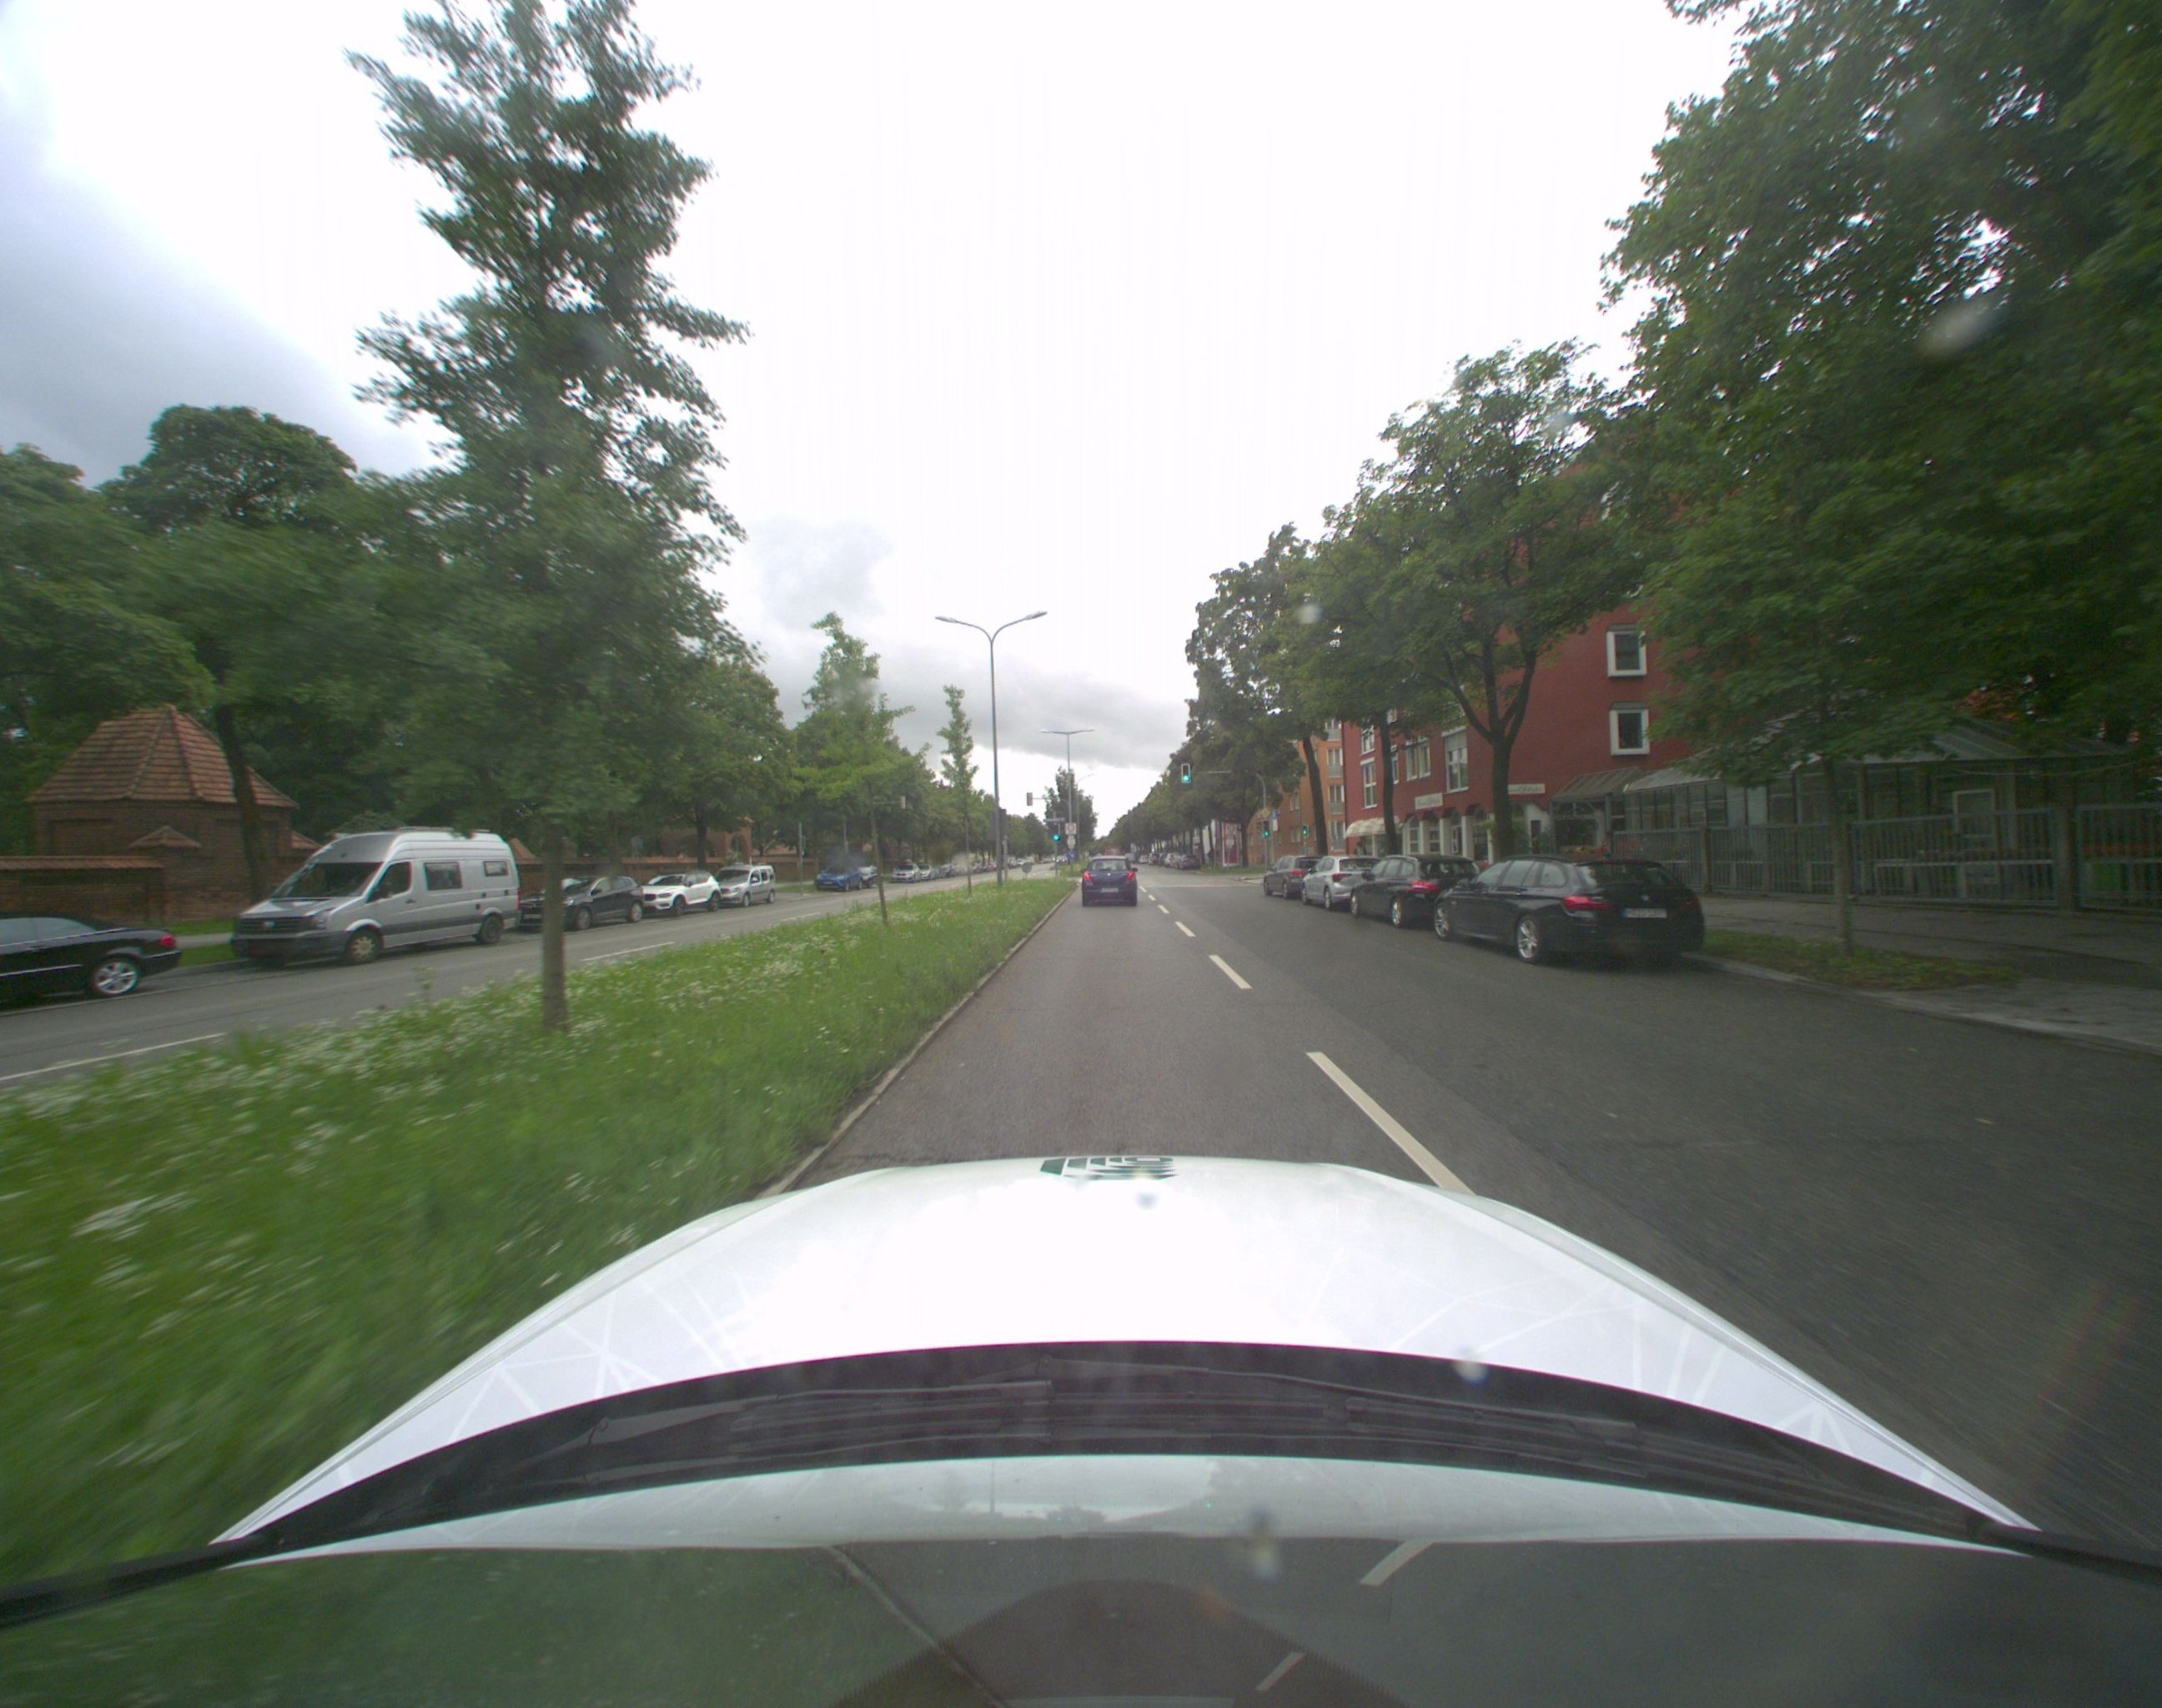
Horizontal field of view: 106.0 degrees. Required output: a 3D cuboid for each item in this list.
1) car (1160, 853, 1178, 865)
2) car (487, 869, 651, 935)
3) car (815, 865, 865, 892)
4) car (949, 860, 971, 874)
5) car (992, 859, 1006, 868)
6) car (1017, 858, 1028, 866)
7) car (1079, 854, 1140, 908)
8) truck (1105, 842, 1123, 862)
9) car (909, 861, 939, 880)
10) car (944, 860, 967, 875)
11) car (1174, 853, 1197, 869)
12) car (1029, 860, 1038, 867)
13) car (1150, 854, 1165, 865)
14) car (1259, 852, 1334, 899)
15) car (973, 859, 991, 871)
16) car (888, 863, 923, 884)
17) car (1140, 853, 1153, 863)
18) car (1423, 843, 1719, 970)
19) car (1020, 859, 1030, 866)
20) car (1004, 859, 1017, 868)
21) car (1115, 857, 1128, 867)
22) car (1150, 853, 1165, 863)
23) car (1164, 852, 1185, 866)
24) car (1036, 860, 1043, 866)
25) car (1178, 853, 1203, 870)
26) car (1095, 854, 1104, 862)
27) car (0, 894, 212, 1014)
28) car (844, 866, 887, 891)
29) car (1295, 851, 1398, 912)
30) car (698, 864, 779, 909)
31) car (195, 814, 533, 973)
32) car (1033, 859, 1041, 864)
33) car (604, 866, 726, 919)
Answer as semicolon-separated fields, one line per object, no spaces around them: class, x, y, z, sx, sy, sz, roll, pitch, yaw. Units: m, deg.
car;11.561;0.658;106.764;1.986;1.530;4.002;-2;0;2
car;-15.567;1.378;25.142;2.179;1.736;4.576;-1;0;-1
car;-14.732;1.466;49.946;1.700;1.534;4.002;-2;0;2
car;-14.213;1.525;95.645;1.795;1.534;4.002;-2;0;2
car;-13.789;1.608;137.369;1.795;1.534;4.002;-2;0;2
car;-12.077;1.599;168.936;1.795;1.534;4.002;-2;0;2
car;0.929;0.788;25.720;1.746;1.505;4.003;-2;0;3
truck;6.121;-0.339;149.277;3.029;3.557;13.683;-1;0;3
car;-14.062;1.469;73.109;1.795;1.534;4.002;-2;0;2
car;-13.960;1.478;90.620;1.795;1.534;4.002;-2;0;2
car;10.729;0.693;83.917;1.986;1.530;4.002;-2;0;2
car;-11.609;2.323;197.978;1.795;1.534;4.002;-2;0;2
car;11.189;0.750;119.389;1.986;1.530;4.002;-2;0;2
car;7.277;0.686;27.853;1.688;1.452;4.127;-2;0;4
car;-13.534;1.539;111.378;1.795;1.534;4.002;-2;0;2
car;-14.344;1.597;66.665;1.795;1.534;4.002;-2;0;2
car;11.534;0.686;143.046;1.986;1.530;4.002;-2;0;2
car;6.794;0.627;12.010;1.647;1.452;4.711;-2;0;2
car;-13.032;1.983;190.512;1.795;1.534;4.002;-2;0;2
car;-12.955;1.706;150.301;1.795;1.534;4.002;-2;0;2
car;5.951;1.168;119.167;1.815;1.477;4.692;0;0;2
car;11.660;0.593;124.129;1.986;1.530;4.002;-2;0;2
car;11.014;0.602;96.168;1.986;1.530;4.002;-2;0;2
car;-12.525;2.747;244.546;1.795;1.534;4.002;-2;0;2
car;10.447;0.672;77.930;1.986;1.530;4.002;-2;0;2
car;3.766;0.858;164.534;1.712;1.500;4.302;-1;0;2
car;-15.902;1.465;11.596;1.807;1.536;4.820;-1;0;1
car;-14.620;1.636;55.487;1.700;1.534;4.002;-2;0;2
car;7.161;0.687;22.409;1.688;1.452;4.127;-2;0;4
car;-14.893;1.374;35.626;1.700;1.734;4.002;-2;0;2
car;-15.591;0.743;18.446;2.179;2.954;6.189;-1;0;-1
car;-12.154;2.048;223.859;1.795;1.534;4.002;-2;0;2
car;-15.327;1.344;30.333;2.179;1.736;4.576;-1;0;-1
